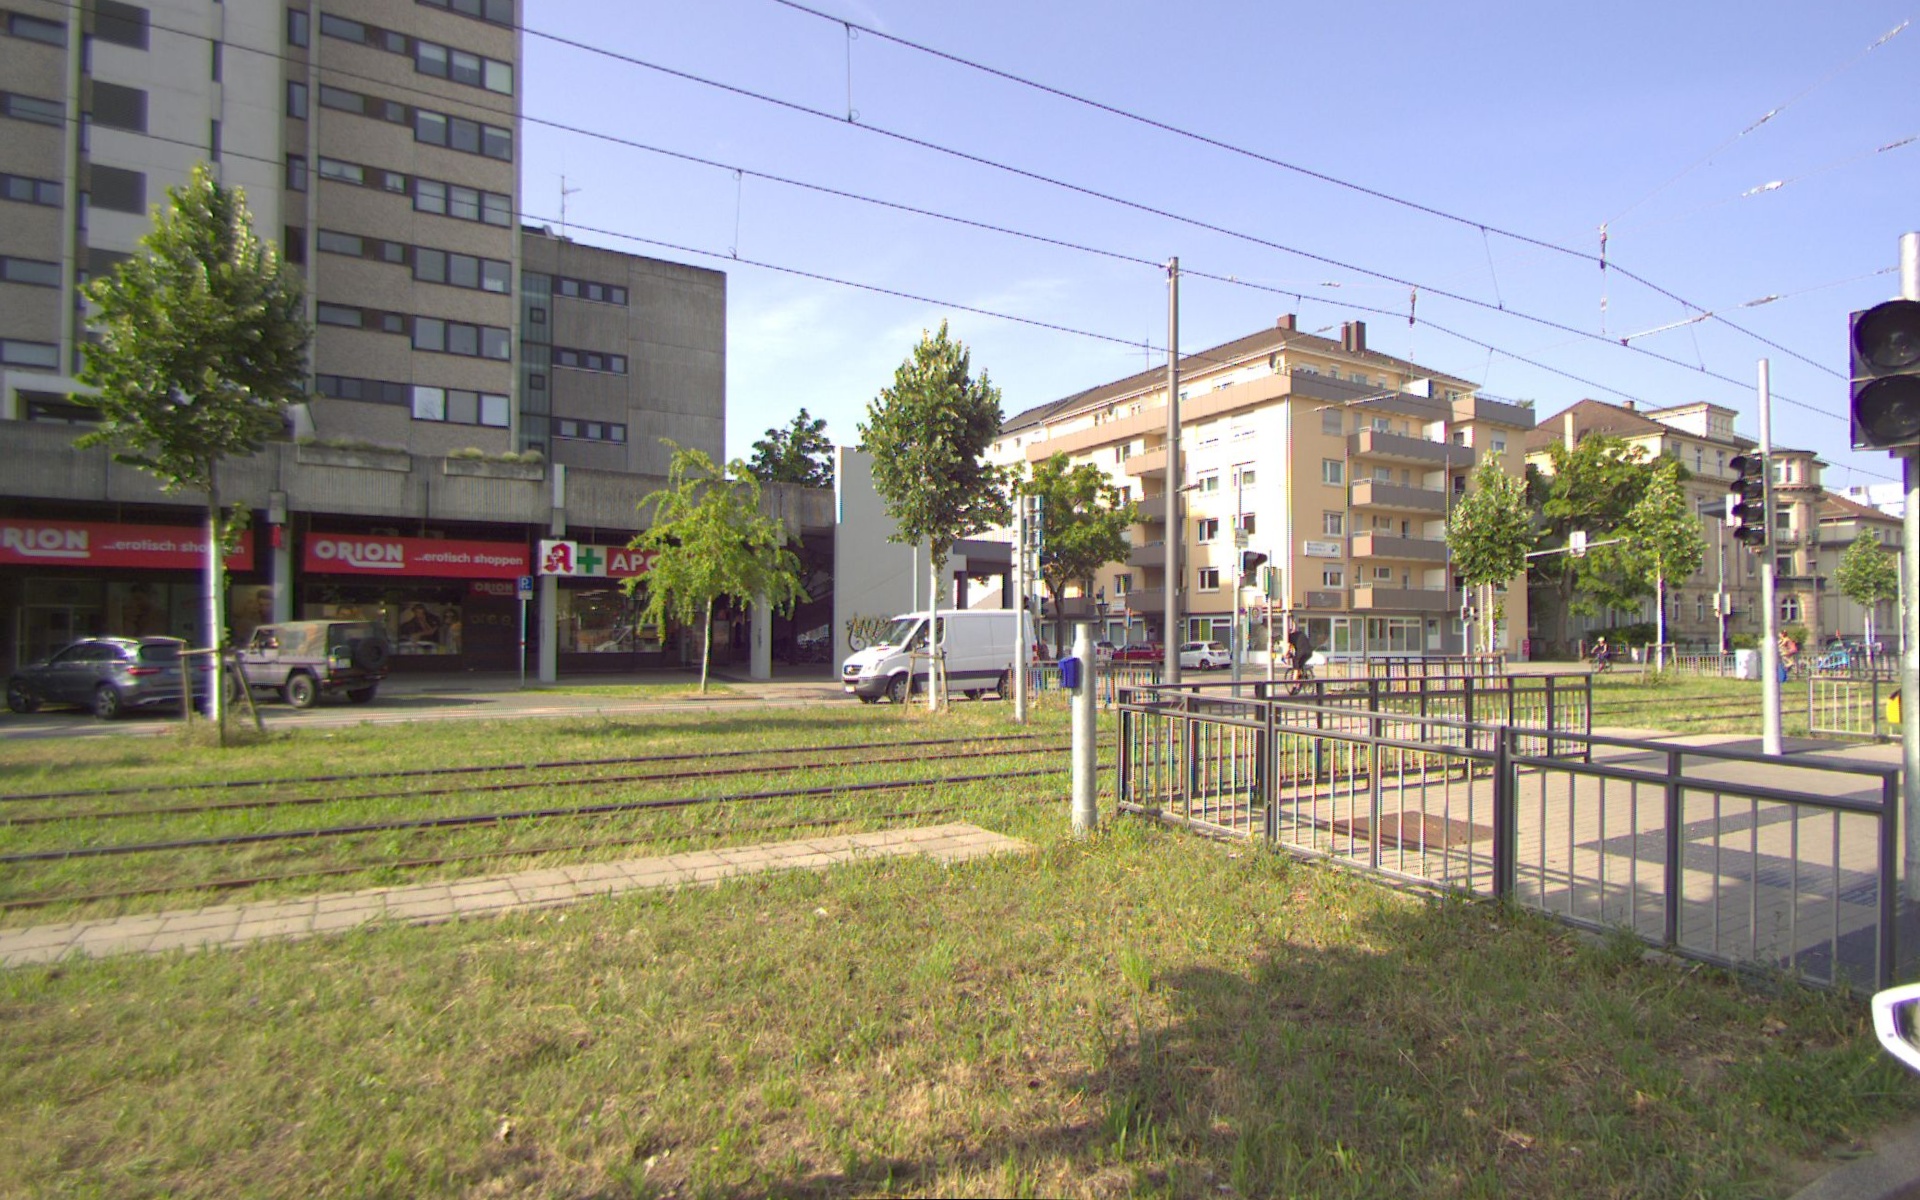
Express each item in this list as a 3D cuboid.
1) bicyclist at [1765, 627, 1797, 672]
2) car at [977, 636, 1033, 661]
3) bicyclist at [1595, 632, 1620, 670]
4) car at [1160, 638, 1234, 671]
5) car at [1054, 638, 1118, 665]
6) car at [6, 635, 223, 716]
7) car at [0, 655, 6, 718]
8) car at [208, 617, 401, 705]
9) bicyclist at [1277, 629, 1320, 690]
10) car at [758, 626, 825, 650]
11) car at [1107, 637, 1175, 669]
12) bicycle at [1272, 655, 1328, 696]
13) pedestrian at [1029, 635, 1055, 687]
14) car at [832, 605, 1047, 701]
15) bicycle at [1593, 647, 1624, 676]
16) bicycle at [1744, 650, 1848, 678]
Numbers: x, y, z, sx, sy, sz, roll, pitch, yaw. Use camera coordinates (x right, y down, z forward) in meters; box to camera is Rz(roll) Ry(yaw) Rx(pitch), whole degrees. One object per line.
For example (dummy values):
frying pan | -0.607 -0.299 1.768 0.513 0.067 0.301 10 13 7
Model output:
bicyclist | 30.762 1.851 37.631 0.880 1.650 0.888 -1 -2 41
car | 3.020 3.252 67.961 1.797 1.625 3.915 2 -2 -34
bicyclist | 31.838 2.490 49.377 1.073 1.829 0.664 2 -2 -36
car | 12.572 2.848 53.419 1.691 1.604 3.602 -2 -1 -33
car | 7.712 3.135 61.558 1.797 1.625 3.916 1 -2 -34
car | -18.426 1.581 21.913 4.031 1.627 1.879 -1 -2 21
car | -21.447 1.692 20.063 4.031 1.261 1.879 1 0 21
car | -15.900 1.429 24.388 4.031 1.994 1.879 -1 -2 21
bicyclist | 8.185 1.445 24.333 0.536 1.413 0.972 -1 -4 -9
car | -13.123 2.957 78.312 4.715 1.843 1.984 2 -2 -31
car | 10.301 2.991 57.341 1.755 1.711 3.765 1 -2 -33
bicycle | 8.205 1.824 24.302 0.547 0.947 1.611 -1 -4 -10
pedestrian | 2.765 2.051 33.806 0.637 1.712 0.656 1 -2 -27
car | -0.481 1.326 25.932 5.275 2.268 2.035 1 -2 -32
bicycle | 31.881 3.007 49.397 1.740 1.364 0.690 2 -2 -36
bicycle | 31.054 2.364 37.386 2.952 0.978 0.896 -1 -2 40
